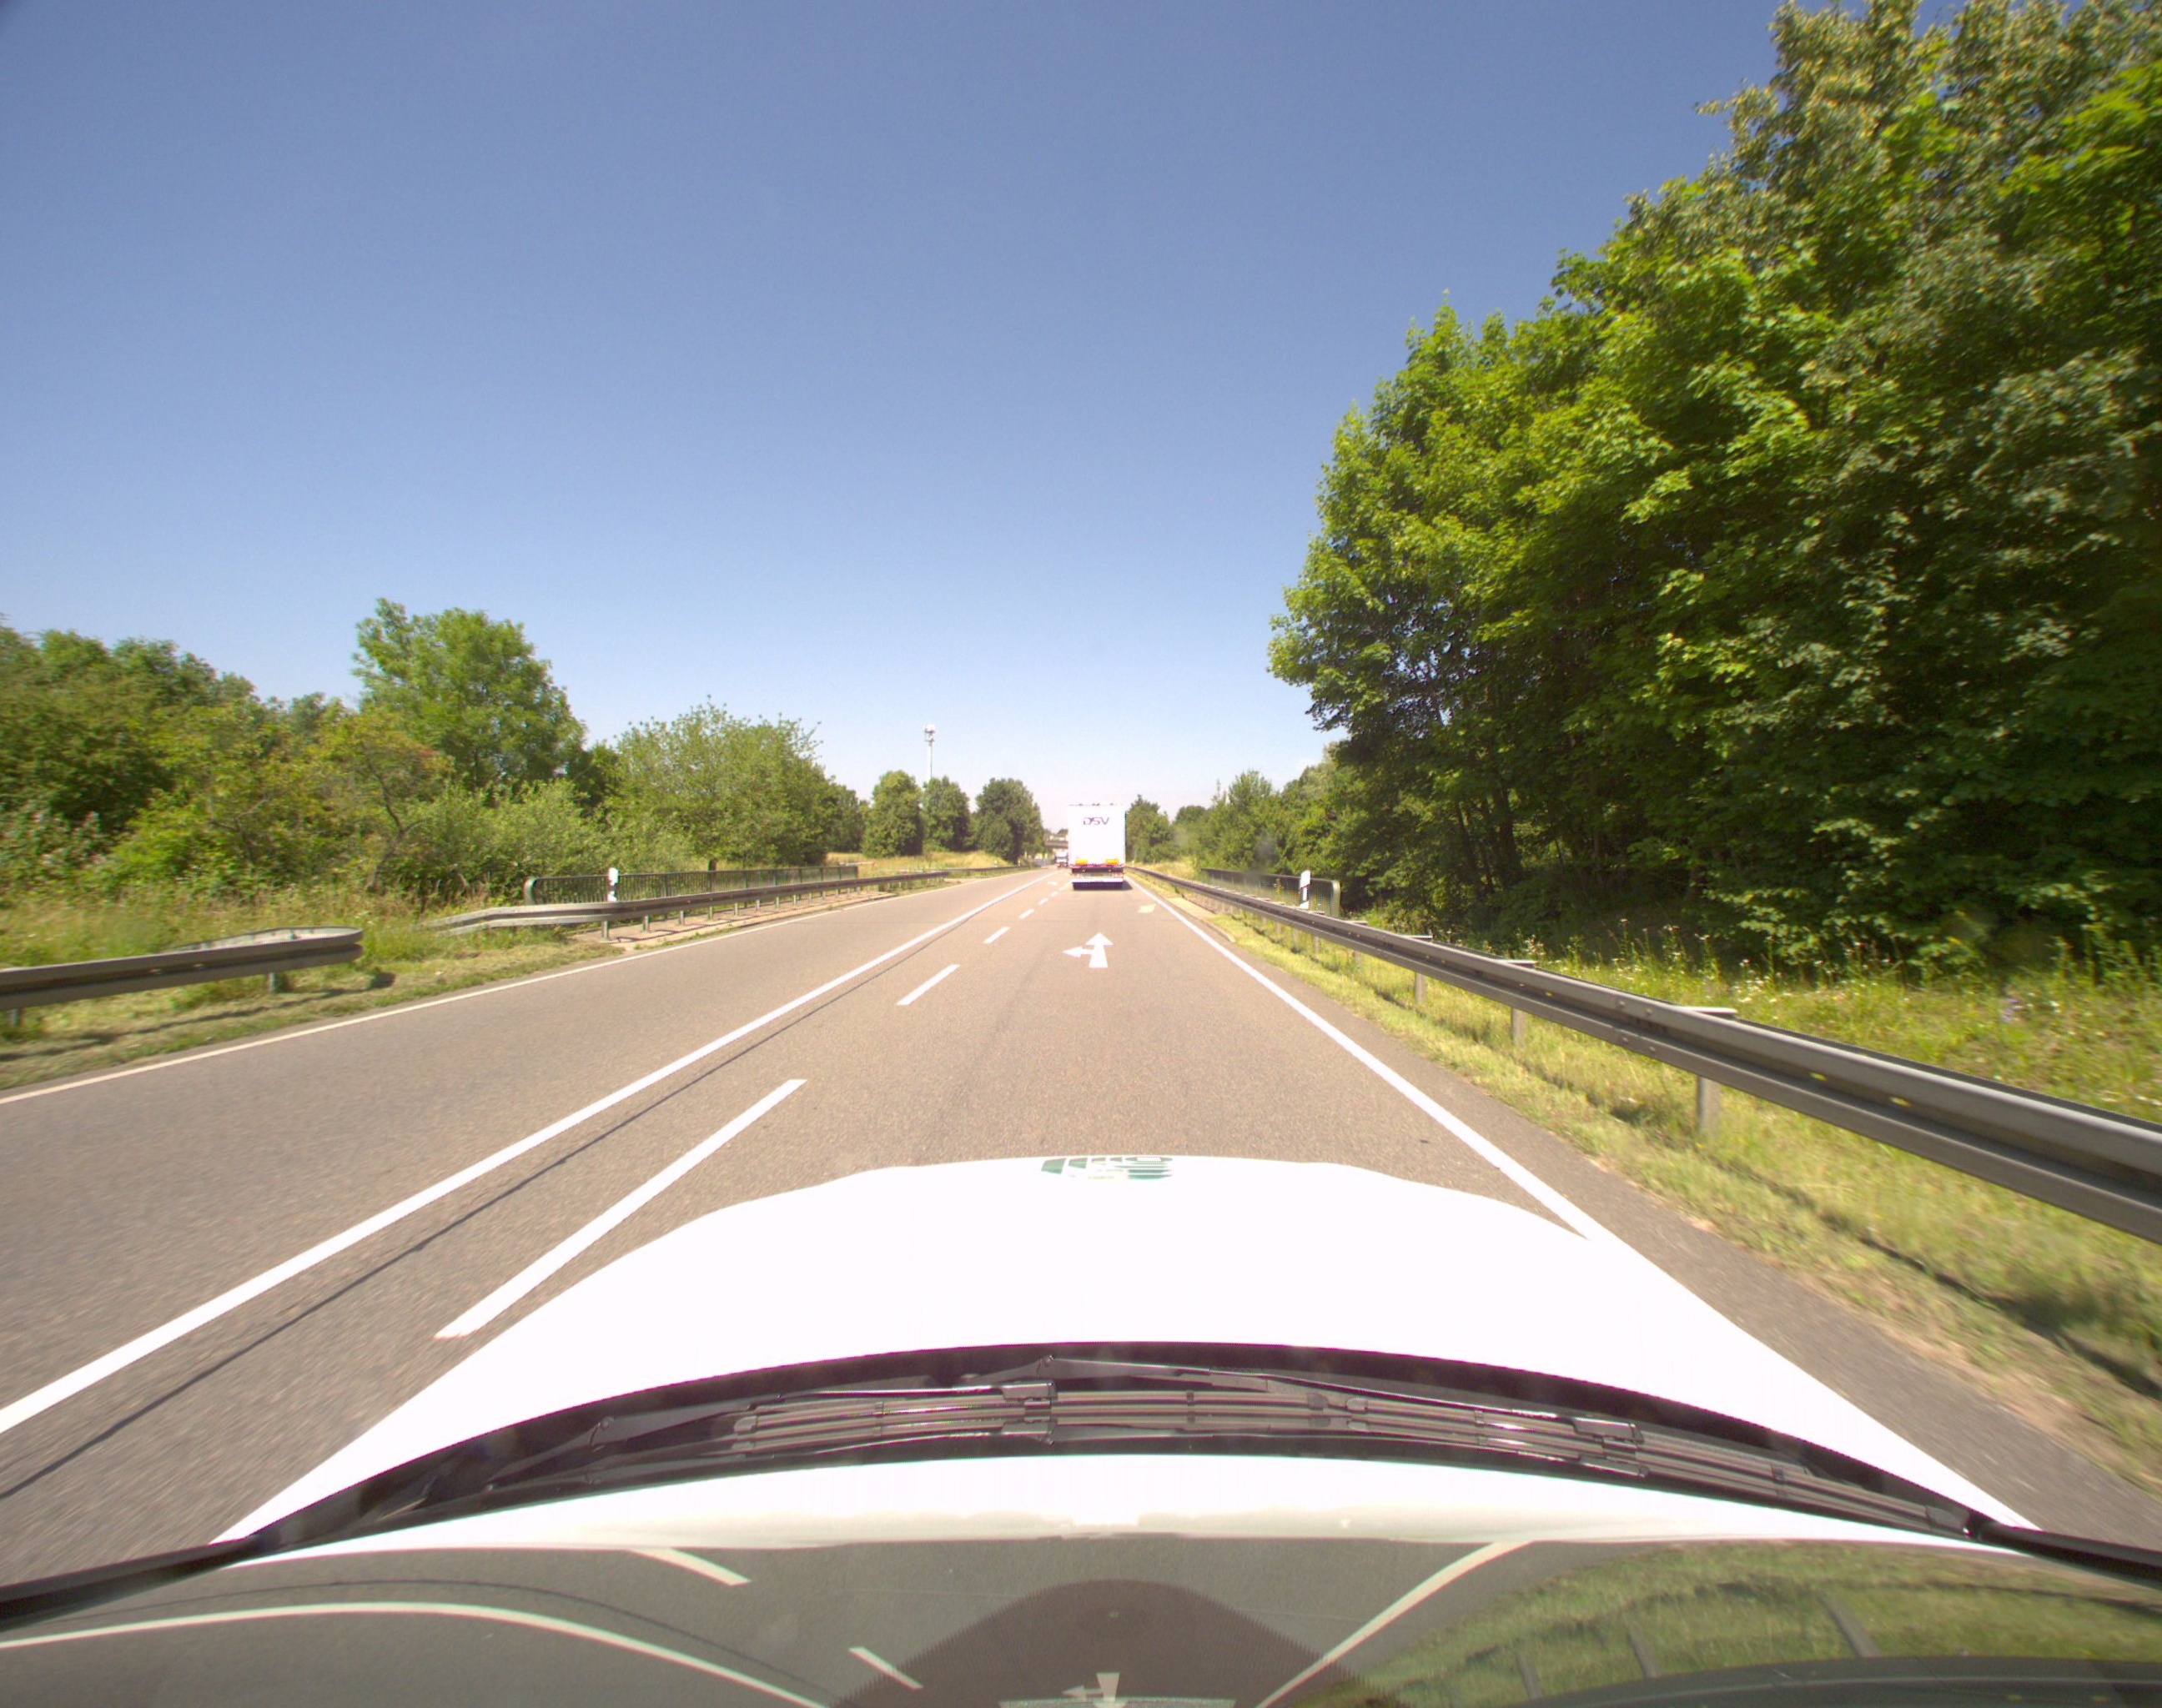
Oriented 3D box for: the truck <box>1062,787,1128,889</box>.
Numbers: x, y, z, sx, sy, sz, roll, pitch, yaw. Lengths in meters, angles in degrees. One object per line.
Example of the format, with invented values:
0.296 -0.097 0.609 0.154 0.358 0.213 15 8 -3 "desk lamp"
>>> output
0.775 -0.658 41.569 2.939 4.569 9.864 0 -1 1 "truck"
